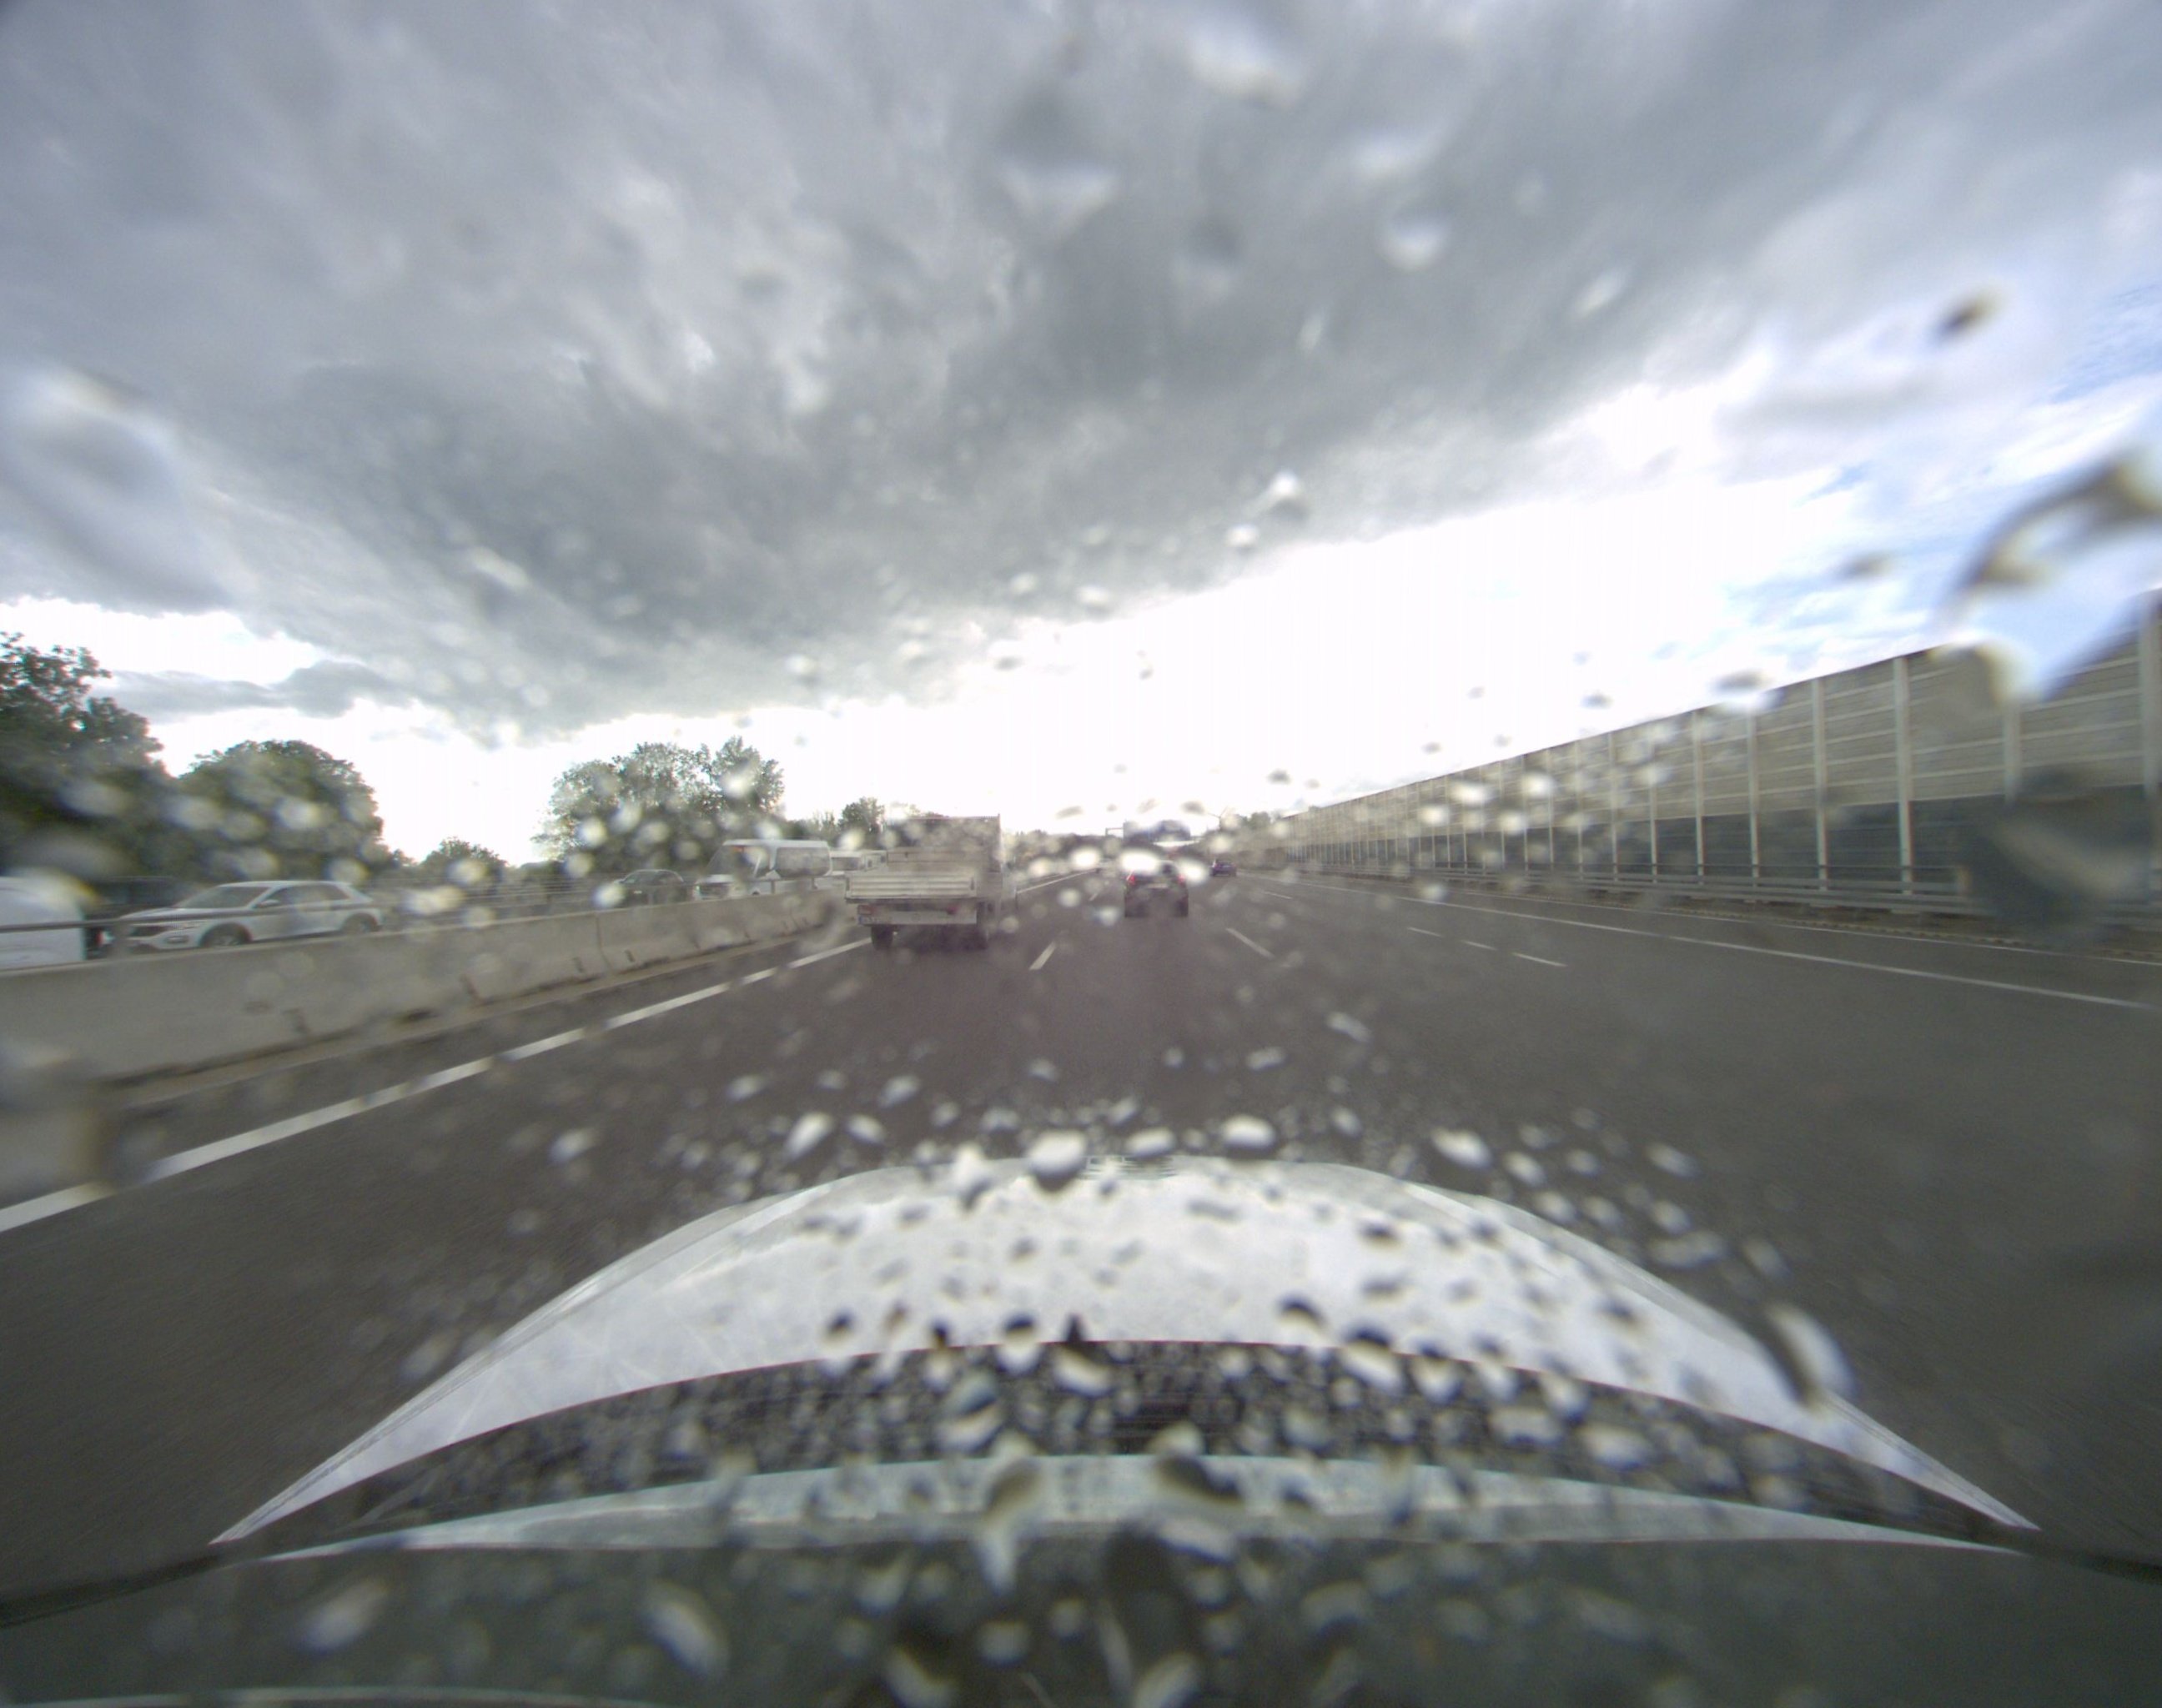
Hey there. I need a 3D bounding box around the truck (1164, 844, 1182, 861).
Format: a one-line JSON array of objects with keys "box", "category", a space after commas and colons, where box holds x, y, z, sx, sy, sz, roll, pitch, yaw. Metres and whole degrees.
[{"box": [20.249, -0.276, 180.283, 3.139, 3.601, 12.708, 0, 0, 3], "category": "truck"}]

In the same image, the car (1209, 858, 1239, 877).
[{"box": [11.375, 1.058, 64.959, 1.941, 1.418, 4.236, -1, -1, 4], "category": "car"}]

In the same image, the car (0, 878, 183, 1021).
[{"box": [-12.921, 1.077, 7.959, 2.052, 1.535, 5.474, -1, -1, 3], "category": "car"}]

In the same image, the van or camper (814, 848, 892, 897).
[{"box": [-14.700, 1.160, 53.094, 2.614, 2.951, 7.365, 0, -1, 3], "category": "van or camper"}]

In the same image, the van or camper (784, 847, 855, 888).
[{"box": [-21.161, 1.104, 66.488, 2.614, 3.123, 8.484, 0, -1, 3], "category": "van or camper"}]

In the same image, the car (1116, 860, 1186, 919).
[{"box": [1.899, 0.896, 22.405, 1.710, 1.417, 4.283, -1, 0, 4], "category": "car"}]

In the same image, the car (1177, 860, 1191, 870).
[{"box": [17.238, 1.861, 136.144, 1.875, 1.561, 4.436, -2, -1, 3], "category": "car"}]

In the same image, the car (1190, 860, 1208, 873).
[{"box": [14.595, 1.562, 101.242, 1.874, 1.542, 4.438, -2, -1, 4], "category": "car"}]

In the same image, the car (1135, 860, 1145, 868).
[{"box": [11.892, 2.087, 164.191, 1.960, 1.561, 4.436, -2, -1, 3], "category": "car"}]

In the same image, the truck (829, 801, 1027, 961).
[{"box": [-2.583, 0.409, 16.043, 2.298, 2.439, 7.151, -1, 0, 2], "category": "truck"}]

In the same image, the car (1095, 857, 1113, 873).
[{"box": [2.464, 1.145, 87.034, 1.709, 1.624, 4.284, -1, 0, 5], "category": "car"}]

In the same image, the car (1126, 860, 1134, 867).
[{"box": [12.207, 2.438, 202.173, 1.960, 1.561, 4.436, -2, -1, 3], "category": "car"}]

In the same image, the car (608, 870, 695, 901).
[{"box": [-21.805, 1.571, 41.587, 1.715, 1.464, 4.525, 0, -1, 5], "category": "car"}]

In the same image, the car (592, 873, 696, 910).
[{"box": [-18.804, 1.590, 35.310, 1.715, 1.464, 4.525, 0, -1, 5], "category": "car"}]

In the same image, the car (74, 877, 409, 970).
[{"box": [-16.796, 1.308, 16.730, 2.052, 1.535, 4.522, -1, -1, 3], "category": "car"}]

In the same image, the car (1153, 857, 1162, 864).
[{"box": [17.768, 1.579, 189.799, 1.960, 1.561, 4.435, -2, -1, 3], "category": "car"}]

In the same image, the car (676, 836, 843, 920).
[{"box": [-11.992, 0.742, 31.518, 2.221, 2.749, 9.173, -1, 1, 4], "category": "car"}]
